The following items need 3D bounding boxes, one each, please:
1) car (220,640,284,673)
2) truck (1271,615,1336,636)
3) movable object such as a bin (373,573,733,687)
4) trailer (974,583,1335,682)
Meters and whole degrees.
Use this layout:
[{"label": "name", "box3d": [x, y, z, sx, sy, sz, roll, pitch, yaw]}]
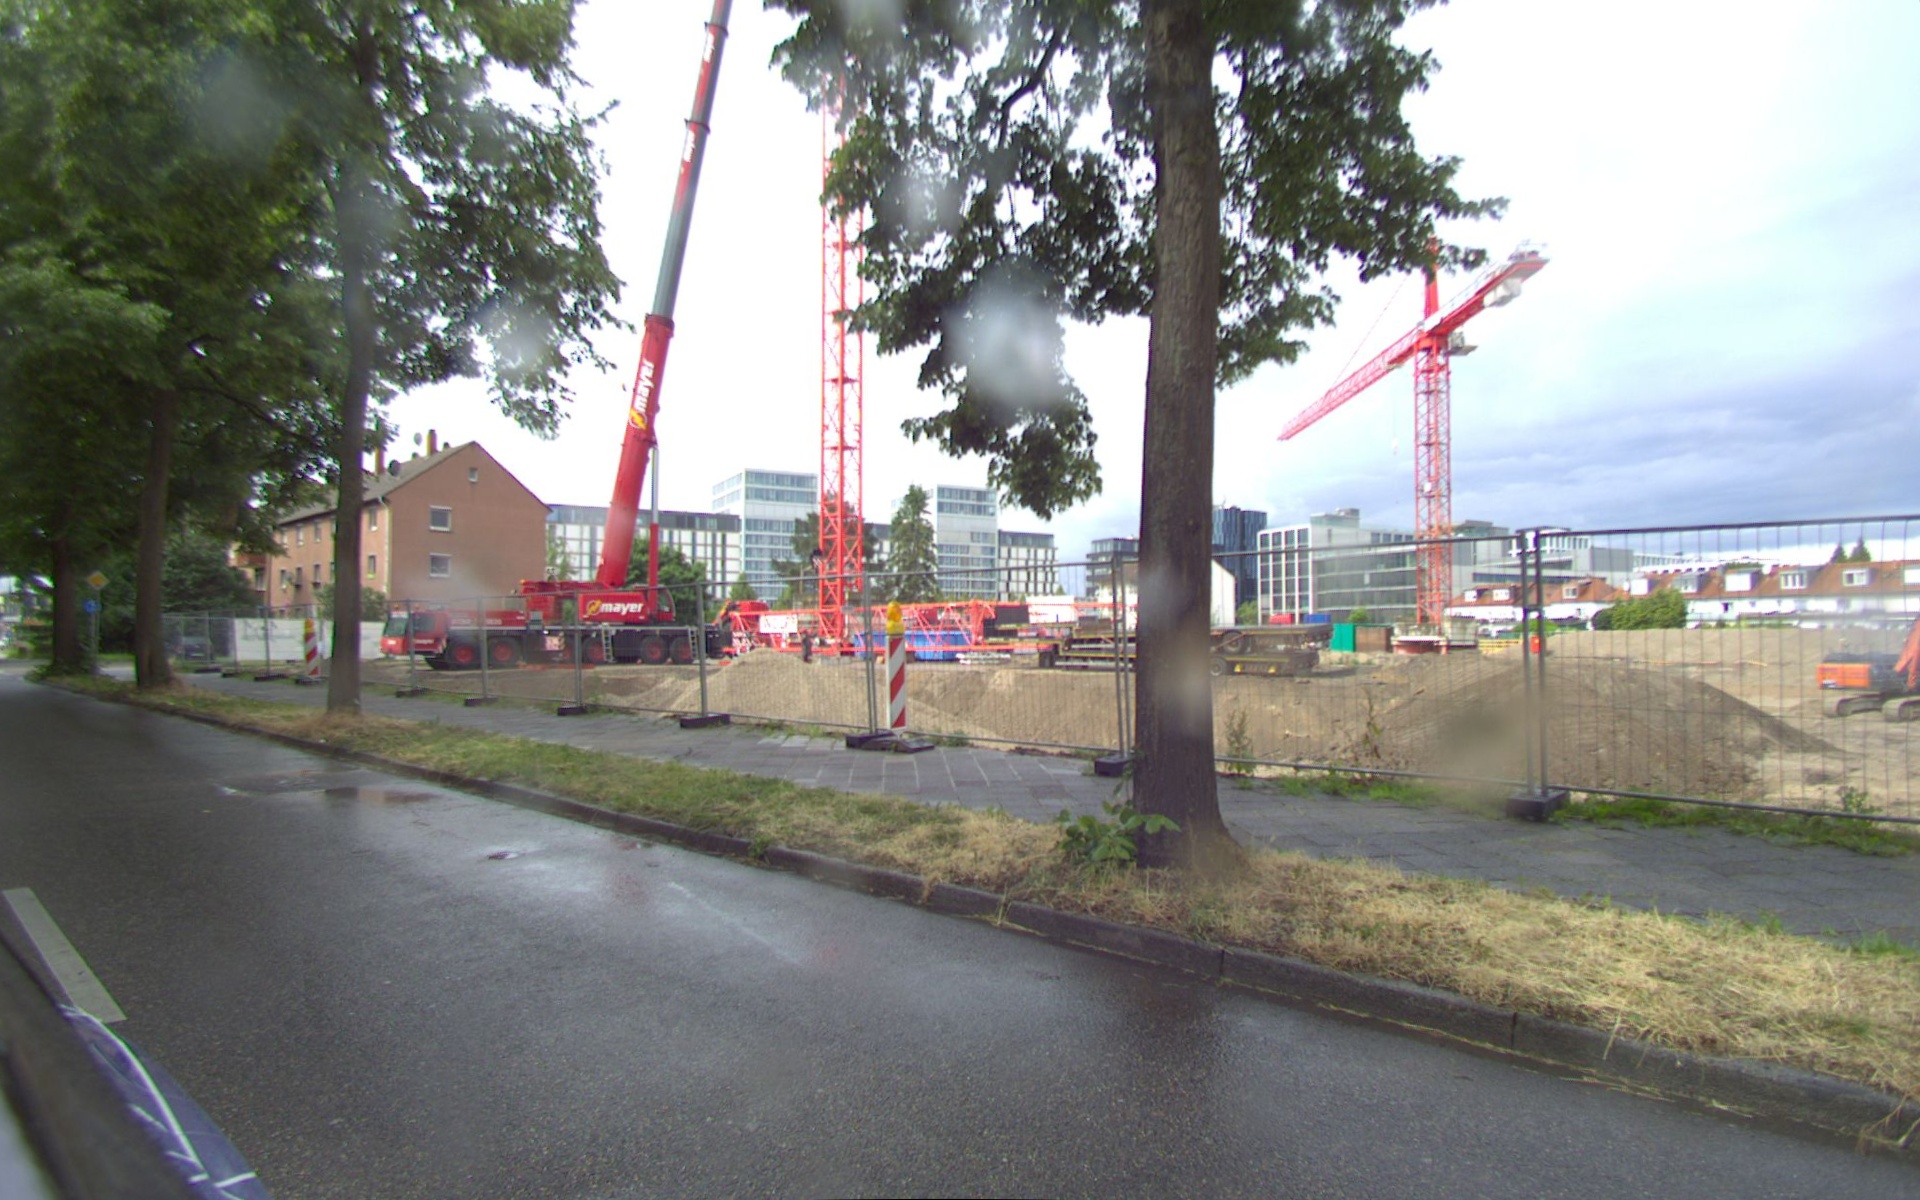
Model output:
[{"label": "car", "box3d": [-36.456, 2.894, 52.065, 3.996, 1.541, 1.672, -1, -1, 39]}, {"label": "truck", "box3d": [35.794, 2.677, 105.510, 6.292, 2.095, 1.884, -1, 0, 25]}, {"label": "movable object such as a bin", "box3d": [-18.238, 1.180, 47.370, 3.102, 4.593, 15.727, -1, -1, 44]}, {"label": "trailer", "box3d": [7.004, 1.181, 39.702, 14.302, 3.257, 2.930, -1, 1, 41]}]
